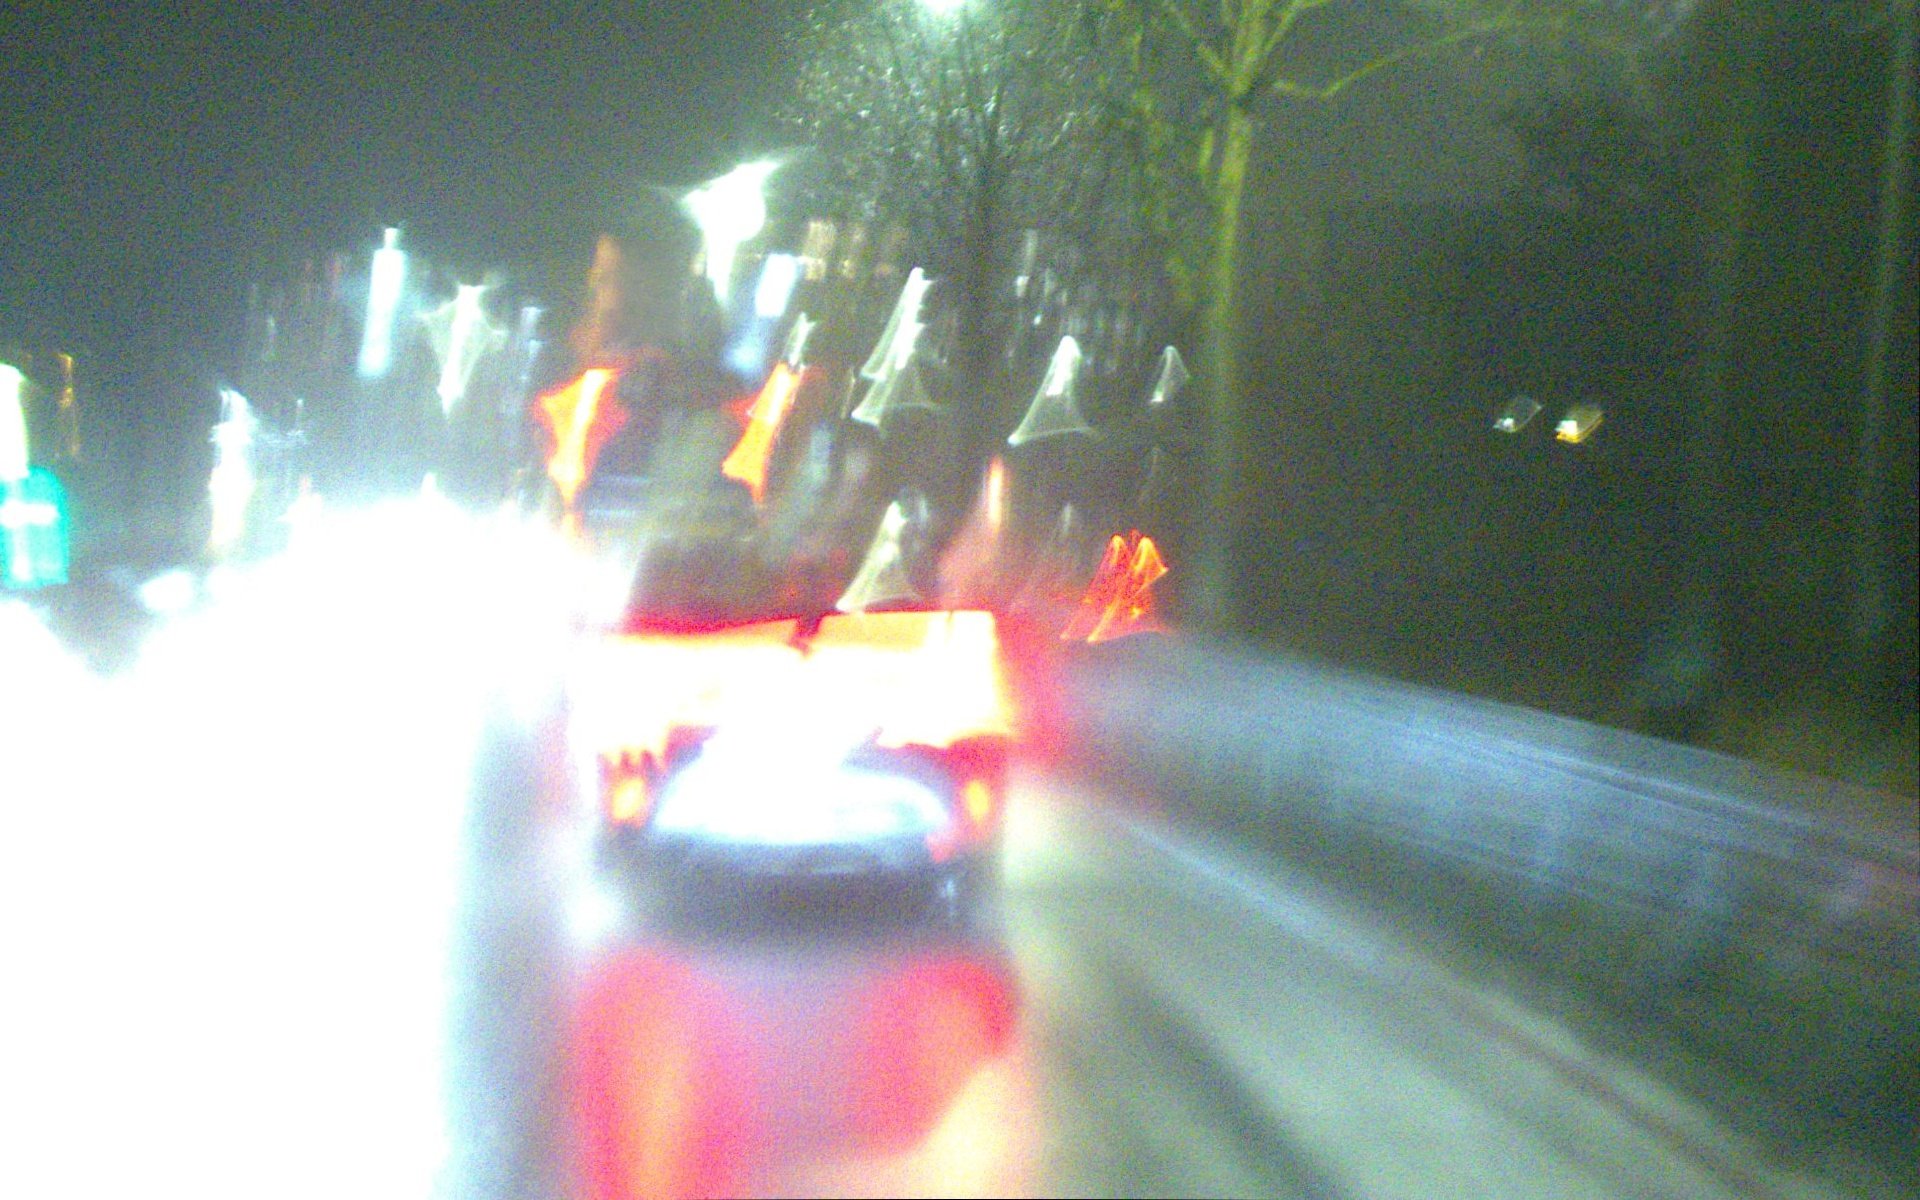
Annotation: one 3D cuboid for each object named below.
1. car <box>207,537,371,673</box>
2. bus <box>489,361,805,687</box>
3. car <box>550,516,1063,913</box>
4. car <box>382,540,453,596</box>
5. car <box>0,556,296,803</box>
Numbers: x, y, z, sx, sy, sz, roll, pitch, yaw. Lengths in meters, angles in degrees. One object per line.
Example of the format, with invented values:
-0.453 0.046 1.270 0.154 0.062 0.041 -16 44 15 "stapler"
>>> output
-7.667 0.023 39.519 1.617 1.473 4.047 0 1 -8 "car"
-3.698 -0.837 38.472 3.043 3.201 9.053 0 1 -8 "bus"
-0.611 0.402 15.556 1.993 1.519 4.000 1 2 0 "car"
-14.956 -0.887 94.637 1.823 1.398 4.037 2 1 -10 "car"
-5.292 0.452 22.327 1.664 1.427 3.820 0 1 -7 "car"
